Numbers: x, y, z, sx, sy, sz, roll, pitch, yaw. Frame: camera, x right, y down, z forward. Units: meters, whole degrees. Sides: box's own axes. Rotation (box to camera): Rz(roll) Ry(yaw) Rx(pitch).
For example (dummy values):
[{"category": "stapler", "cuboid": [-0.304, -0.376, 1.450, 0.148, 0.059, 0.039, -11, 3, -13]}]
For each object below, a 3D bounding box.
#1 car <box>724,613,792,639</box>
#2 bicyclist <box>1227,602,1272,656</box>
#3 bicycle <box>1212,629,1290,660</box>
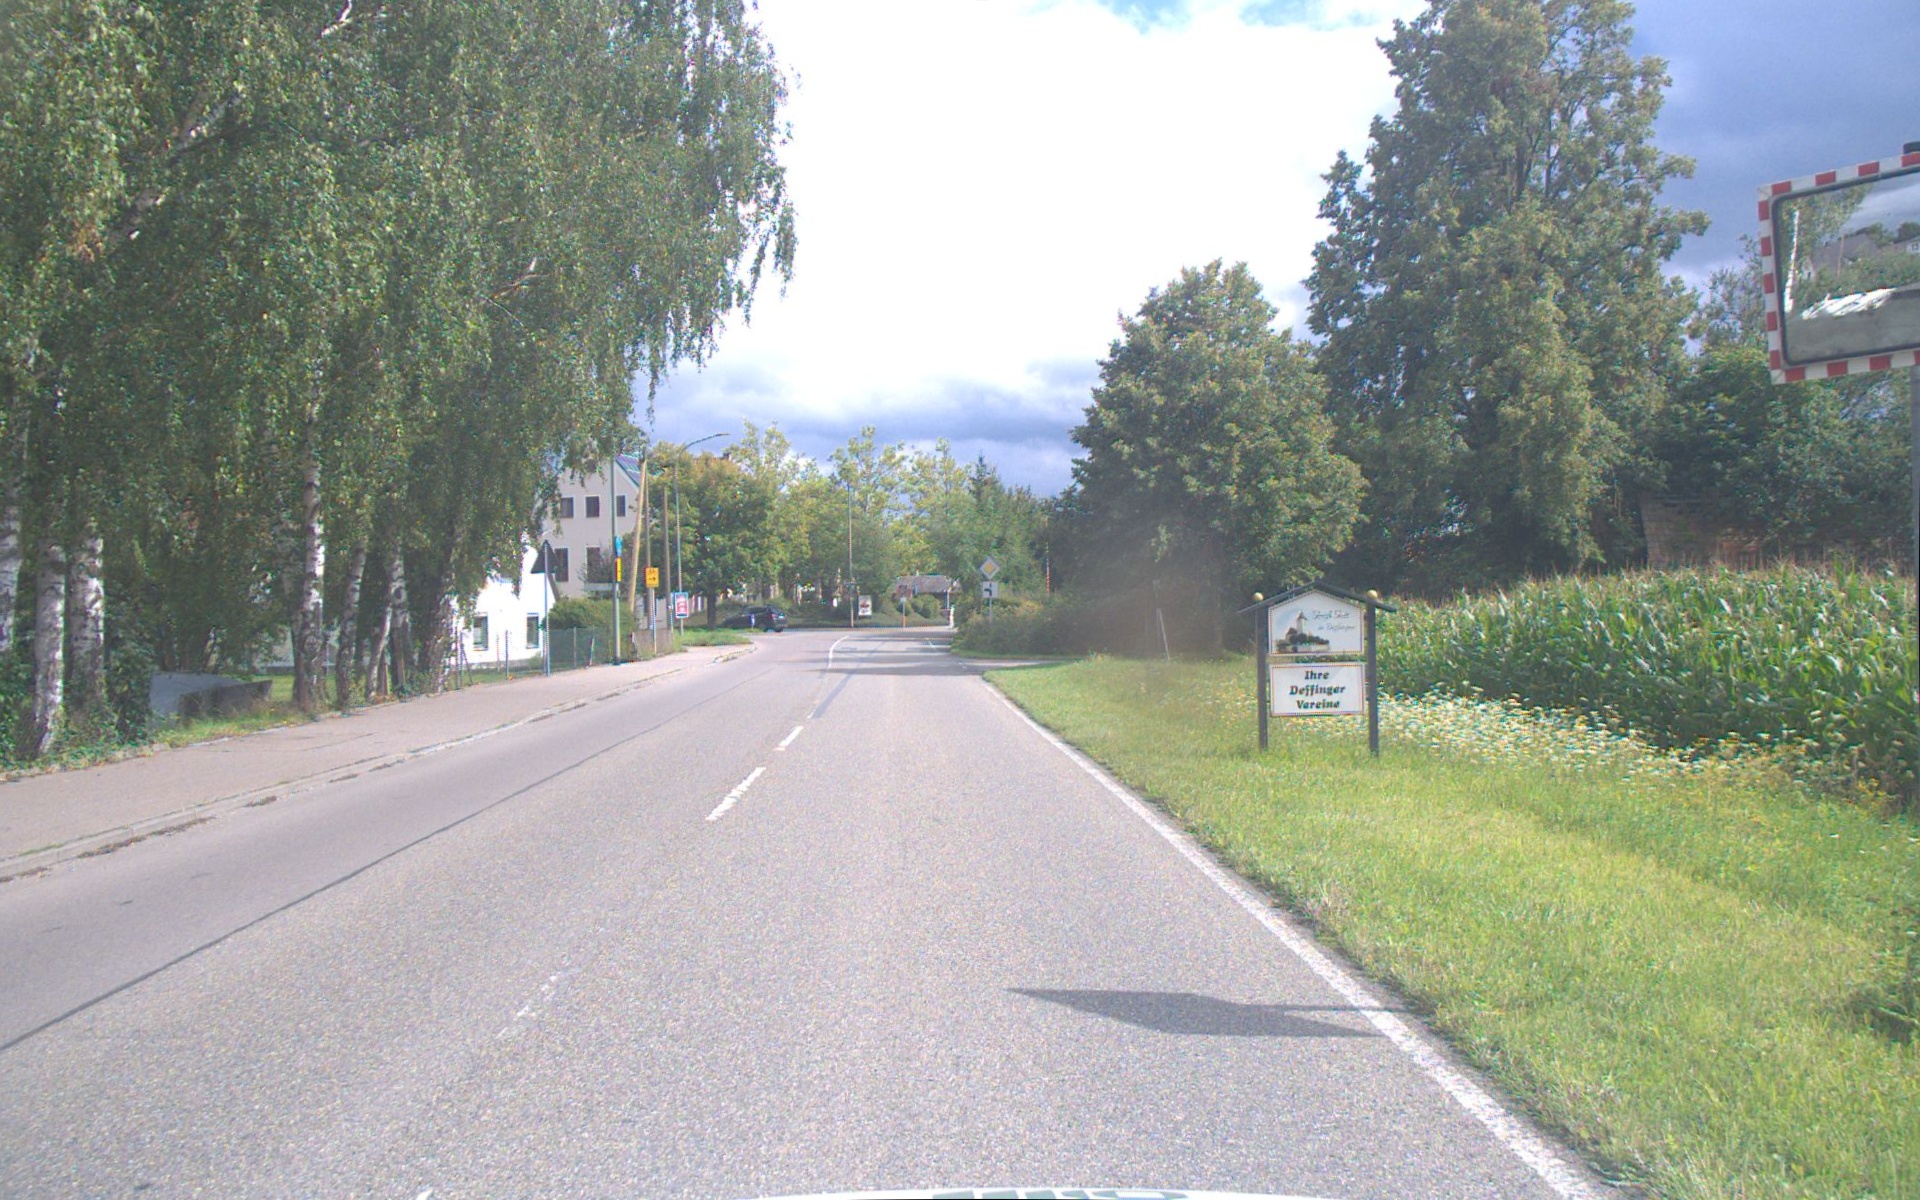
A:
[{"category": "car", "cuboid": [-13.033, 1.682, 106.843, 3.910, 1.612, 1.997, 0, 1, 28]}, {"category": "bicyclist", "cuboid": [8.757, 0.869, 50.038, 1.001, 1.613, 1.049, 0, 0, -17]}, {"category": "bicycle", "cuboid": [8.791, 1.348, 50.040, 2.082, 0.879, 1.049, 0, 0, -17]}]
